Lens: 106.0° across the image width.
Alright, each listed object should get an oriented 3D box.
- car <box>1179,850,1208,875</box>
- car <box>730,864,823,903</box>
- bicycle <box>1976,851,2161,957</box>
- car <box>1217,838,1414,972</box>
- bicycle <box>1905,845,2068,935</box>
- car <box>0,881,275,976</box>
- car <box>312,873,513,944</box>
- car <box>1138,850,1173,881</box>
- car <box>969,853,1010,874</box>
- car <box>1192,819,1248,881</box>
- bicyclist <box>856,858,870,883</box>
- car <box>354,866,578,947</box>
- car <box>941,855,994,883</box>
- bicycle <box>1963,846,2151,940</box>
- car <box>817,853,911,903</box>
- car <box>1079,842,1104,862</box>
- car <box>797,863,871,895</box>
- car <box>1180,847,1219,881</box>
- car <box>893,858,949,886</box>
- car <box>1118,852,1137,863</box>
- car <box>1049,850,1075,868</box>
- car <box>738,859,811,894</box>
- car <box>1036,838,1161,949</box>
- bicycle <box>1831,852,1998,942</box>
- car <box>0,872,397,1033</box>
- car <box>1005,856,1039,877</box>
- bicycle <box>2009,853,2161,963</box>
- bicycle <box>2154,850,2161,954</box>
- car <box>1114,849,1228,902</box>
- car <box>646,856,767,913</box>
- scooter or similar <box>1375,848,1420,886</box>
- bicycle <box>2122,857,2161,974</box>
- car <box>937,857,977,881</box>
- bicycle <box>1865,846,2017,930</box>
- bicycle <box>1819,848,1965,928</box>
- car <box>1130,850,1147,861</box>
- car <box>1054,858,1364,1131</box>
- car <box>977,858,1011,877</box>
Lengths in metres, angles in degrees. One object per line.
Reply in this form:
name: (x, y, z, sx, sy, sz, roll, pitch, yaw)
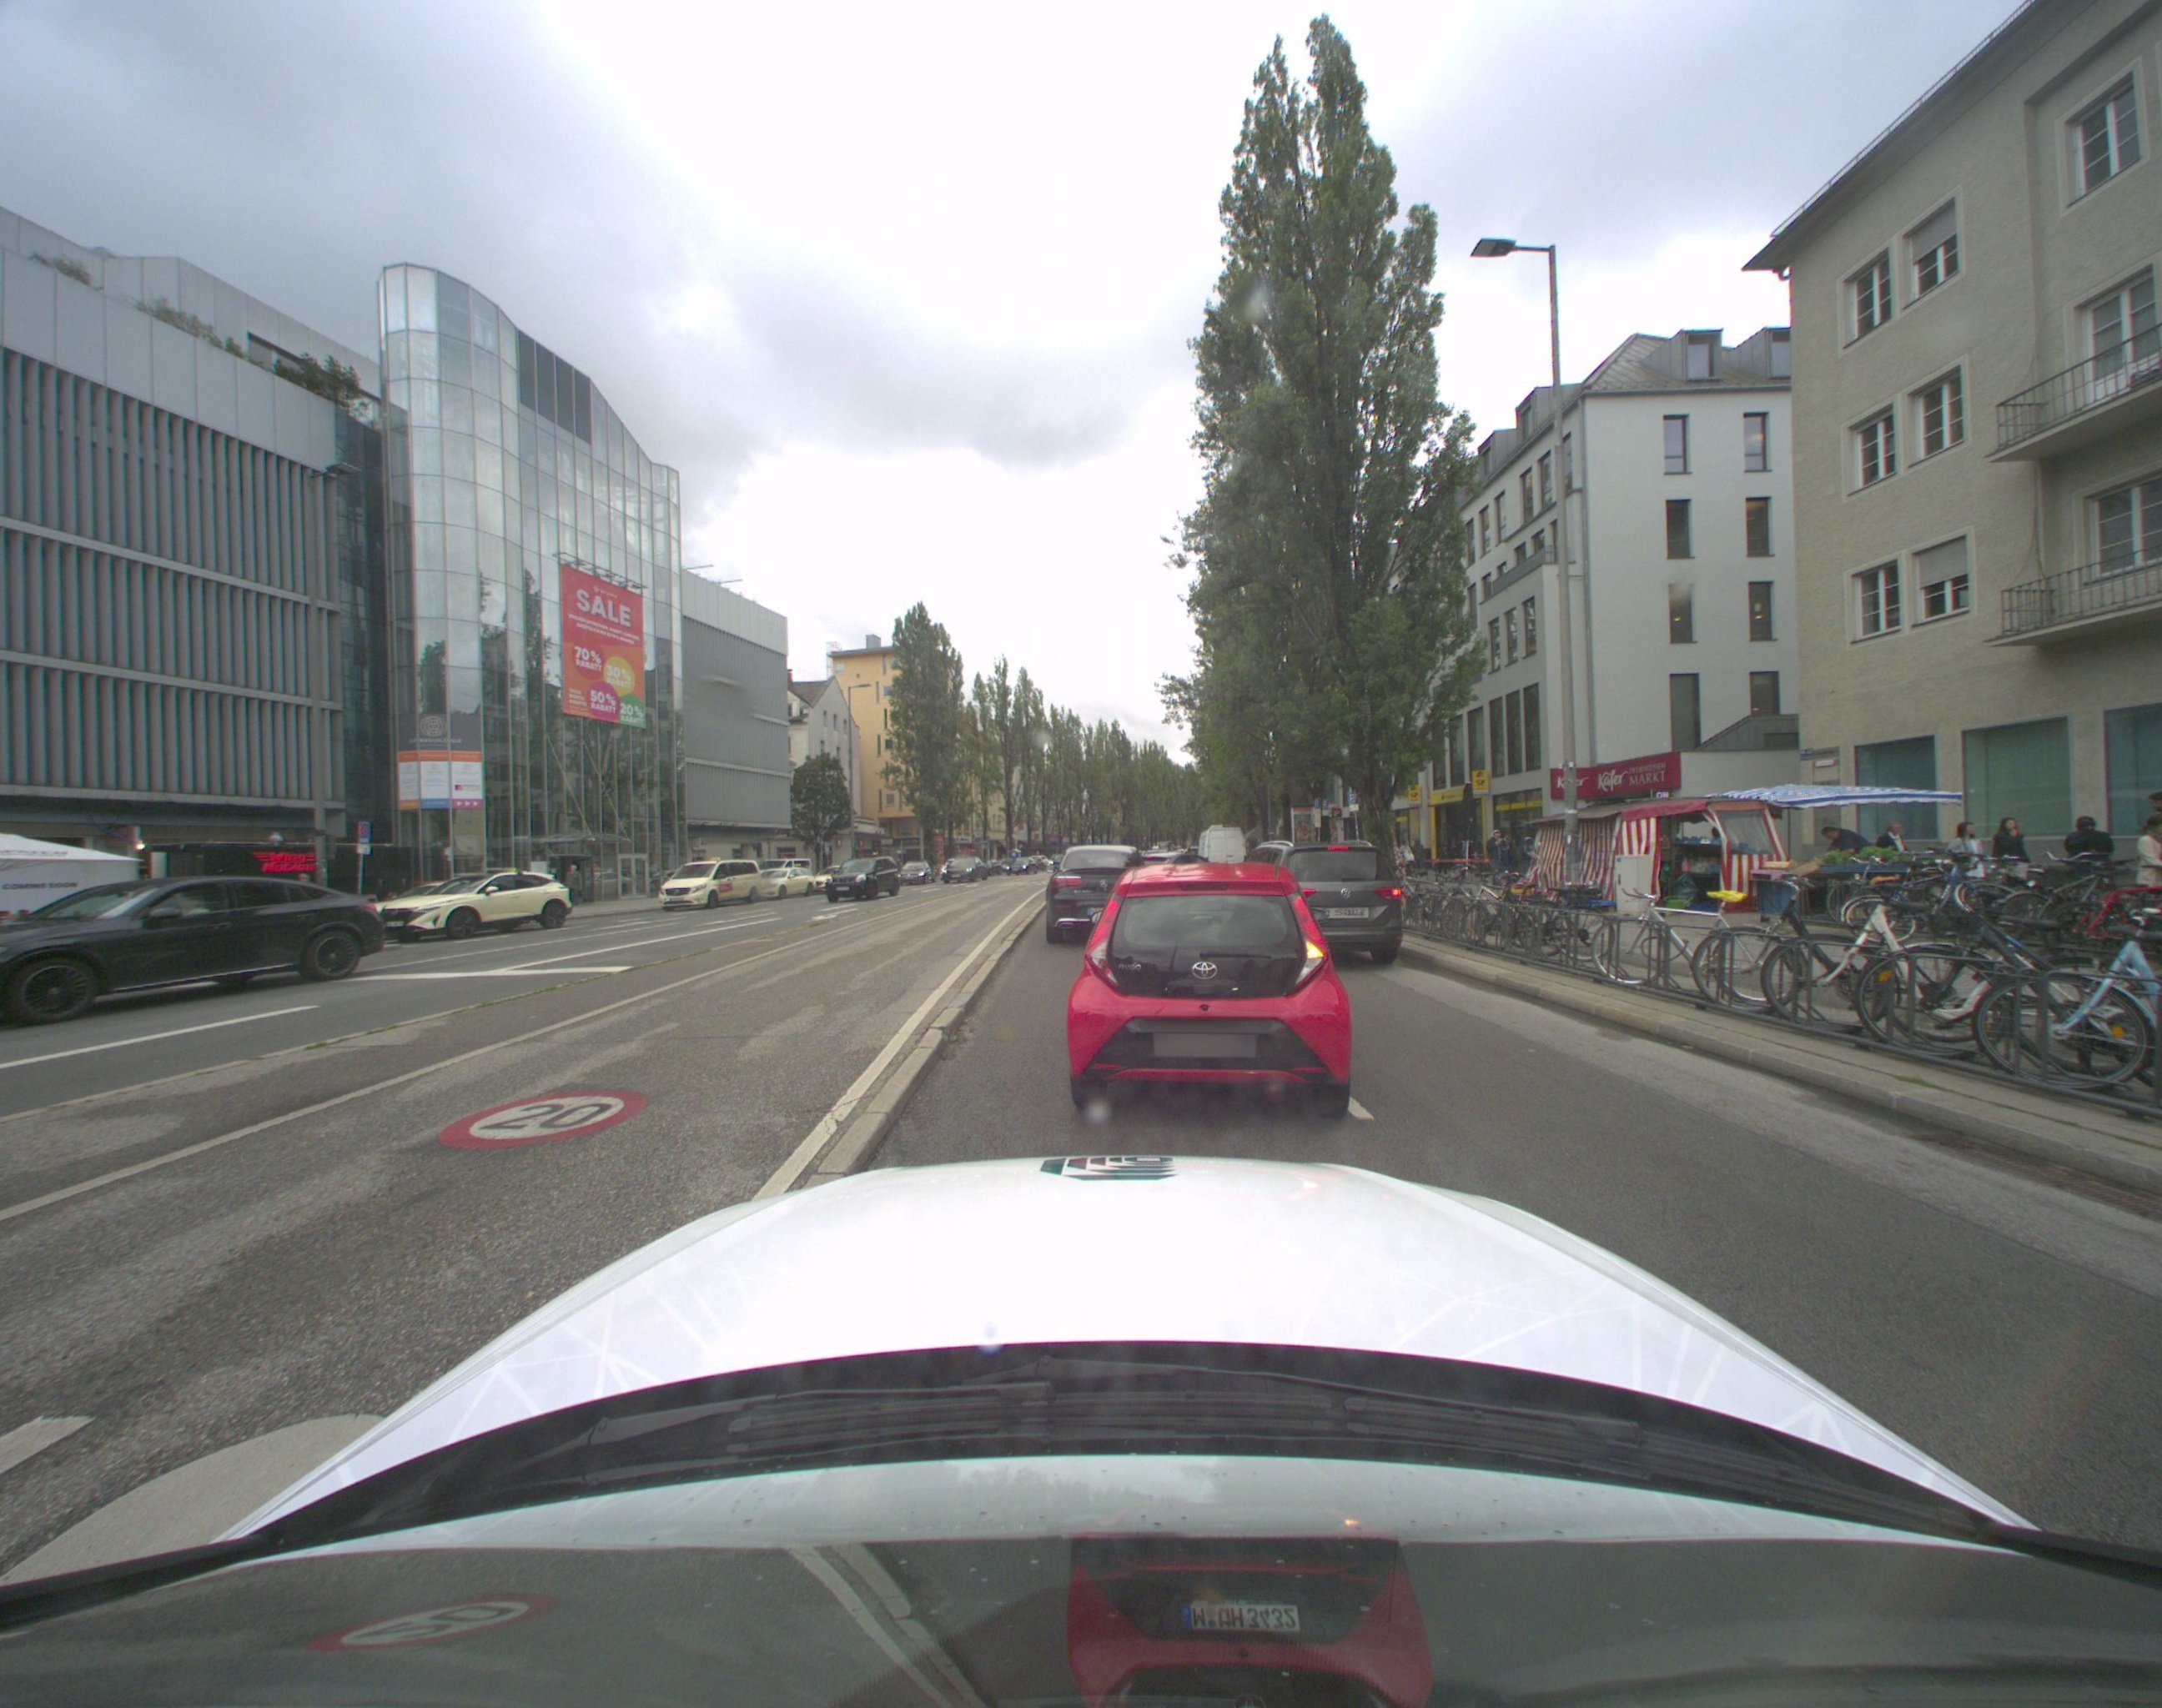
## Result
car: (7.850, 0.577, 57.210, 1.719, 1.686, 4.414, -1, 0, 5)
car: (-14.249, 1.321, 38.516, 1.967, 1.552, 5.095, -2, 0, 6)
bicycle: (10.978, 0.547, 9.044, 1.471, 1.078, 0.411, -3, 0, 5)
car: (3.225, 0.618, 12.062, 1.755, 1.613, 4.184, -1, 0, 1)
bicycle: (12.117, 0.473, 10.923, 1.622, 1.103, 0.410, -3, 0, 2)
car: (-19.623, 1.436, 16.746, 1.742, 1.536, 4.010, -2, 0, 9)
car: (-18.148, 1.408, 22.378, 1.760, 1.616, 4.012, -2, 0, 11)
car: (4.016, 0.608, 44.292, 1.752, 1.619, 3.749, 0, -1, 3)
car: (-8.154, 0.881, 72.971, 1.740, 1.816, 4.023, -1, -1, 26)
car: (6.592, -0.148, 39.097, 1.985, 2.741, 5.558, 0, -1, 3)
bicyclist: (-14.418, 1.081, 53.951, 0.499, 1.592, 0.838, -2, 0, 14)
car: (-15.714, 1.263, 21.160, 1.873, 1.698, 4.397, -3, 0, 12)
car: (-6.851, 0.891, 49.751, 1.984, 1.507, 5.030, -2, 0, 6)
bicycle: (12.283, 0.488, 10.285, 1.619, 1.103, 0.411, -3, 0, 9)
car: (-8.523, 0.891, 32.471, 1.983, 1.777, 4.608, -2, 0, 7)
car: (1.445, -0.333, 112.135, 2.155, 2.605, 6.085, -2, 0, 13)
car: (-13.290, 1.307, 44.099, 1.847, 1.469, 4.992, -4, 0, 7)
car: (6.619, 0.555, 45.821, 1.919, 1.805, 4.787, 0, 0, 6)
car: (-9.899, 1.083, 50.715, 1.949, 1.546, 4.956, -3, 0, 6)
car: (6.587, 0.526, 115.838, 1.786, 1.394, 4.708, -2, 0, 13)
car: (-1.823, 0.495, 79.950, 1.984, 1.621, 4.420, -3, 0, 5)
car: (-19.522, 1.372, 52.175, 1.981, 2.013, 5.126, -2, 0, 10)
car: (0.345, 0.604, 14.841, 1.873, 1.642, 4.585, -2, 0, 2)
bicycle: (10.740, 0.557, 10.535, 1.458, 1.078, 0.412, -3, 0, 16)
car: (-12.104, 1.120, 10.659, 1.982, 1.576, 4.627, -2, 0, 8)
car: (-4.715, 0.958, 65.780, 1.826, 1.487, 4.743, -2, 0, 6)
bicycle: (10.819, 0.559, 8.569, 1.440, 1.078, 0.411, -3, 0, 8)
bicycle: (12.317, 0.469, 8.625, 1.628, 1.103, 0.409, -3, 0, -9)
car: (2.682, 0.594, 23.892, 1.530, 1.460, 3.454, -1, -1, 44)
car: (-14.849, 1.124, 32.692, 1.985, 2.013, 5.327, -3, 0, 4)
scooter or similar: (10.828, 0.446, 27.842, 1.468, 1.207, 0.398, -3, 0, -18)
bicycle: (10.832, 0.552, 7.815, 1.449, 1.078, 0.408, -3, 0, -12)
car: (-9.106, 1.050, 60.318, 1.985, 1.600, 4.294, -2, 0, 4)
bicycle: (12.240, 0.478, 11.608, 1.622, 1.103, 0.410, -3, 0, 2)
bicycle: (12.088, 0.505, 12.167, 1.621, 1.103, 0.411, -3, 0, 5)
car: (8.799, 0.236, 124.481, 1.896, 1.603, 4.370, -2, 0, 12)
car: (0.932, 0.763, 6.215, 1.656, 1.446, 3.604, 0, -1, 8)
car: (-7.221, 1.114, 67.942, 1.720, 1.409, 4.697, -2, 0, 7)
